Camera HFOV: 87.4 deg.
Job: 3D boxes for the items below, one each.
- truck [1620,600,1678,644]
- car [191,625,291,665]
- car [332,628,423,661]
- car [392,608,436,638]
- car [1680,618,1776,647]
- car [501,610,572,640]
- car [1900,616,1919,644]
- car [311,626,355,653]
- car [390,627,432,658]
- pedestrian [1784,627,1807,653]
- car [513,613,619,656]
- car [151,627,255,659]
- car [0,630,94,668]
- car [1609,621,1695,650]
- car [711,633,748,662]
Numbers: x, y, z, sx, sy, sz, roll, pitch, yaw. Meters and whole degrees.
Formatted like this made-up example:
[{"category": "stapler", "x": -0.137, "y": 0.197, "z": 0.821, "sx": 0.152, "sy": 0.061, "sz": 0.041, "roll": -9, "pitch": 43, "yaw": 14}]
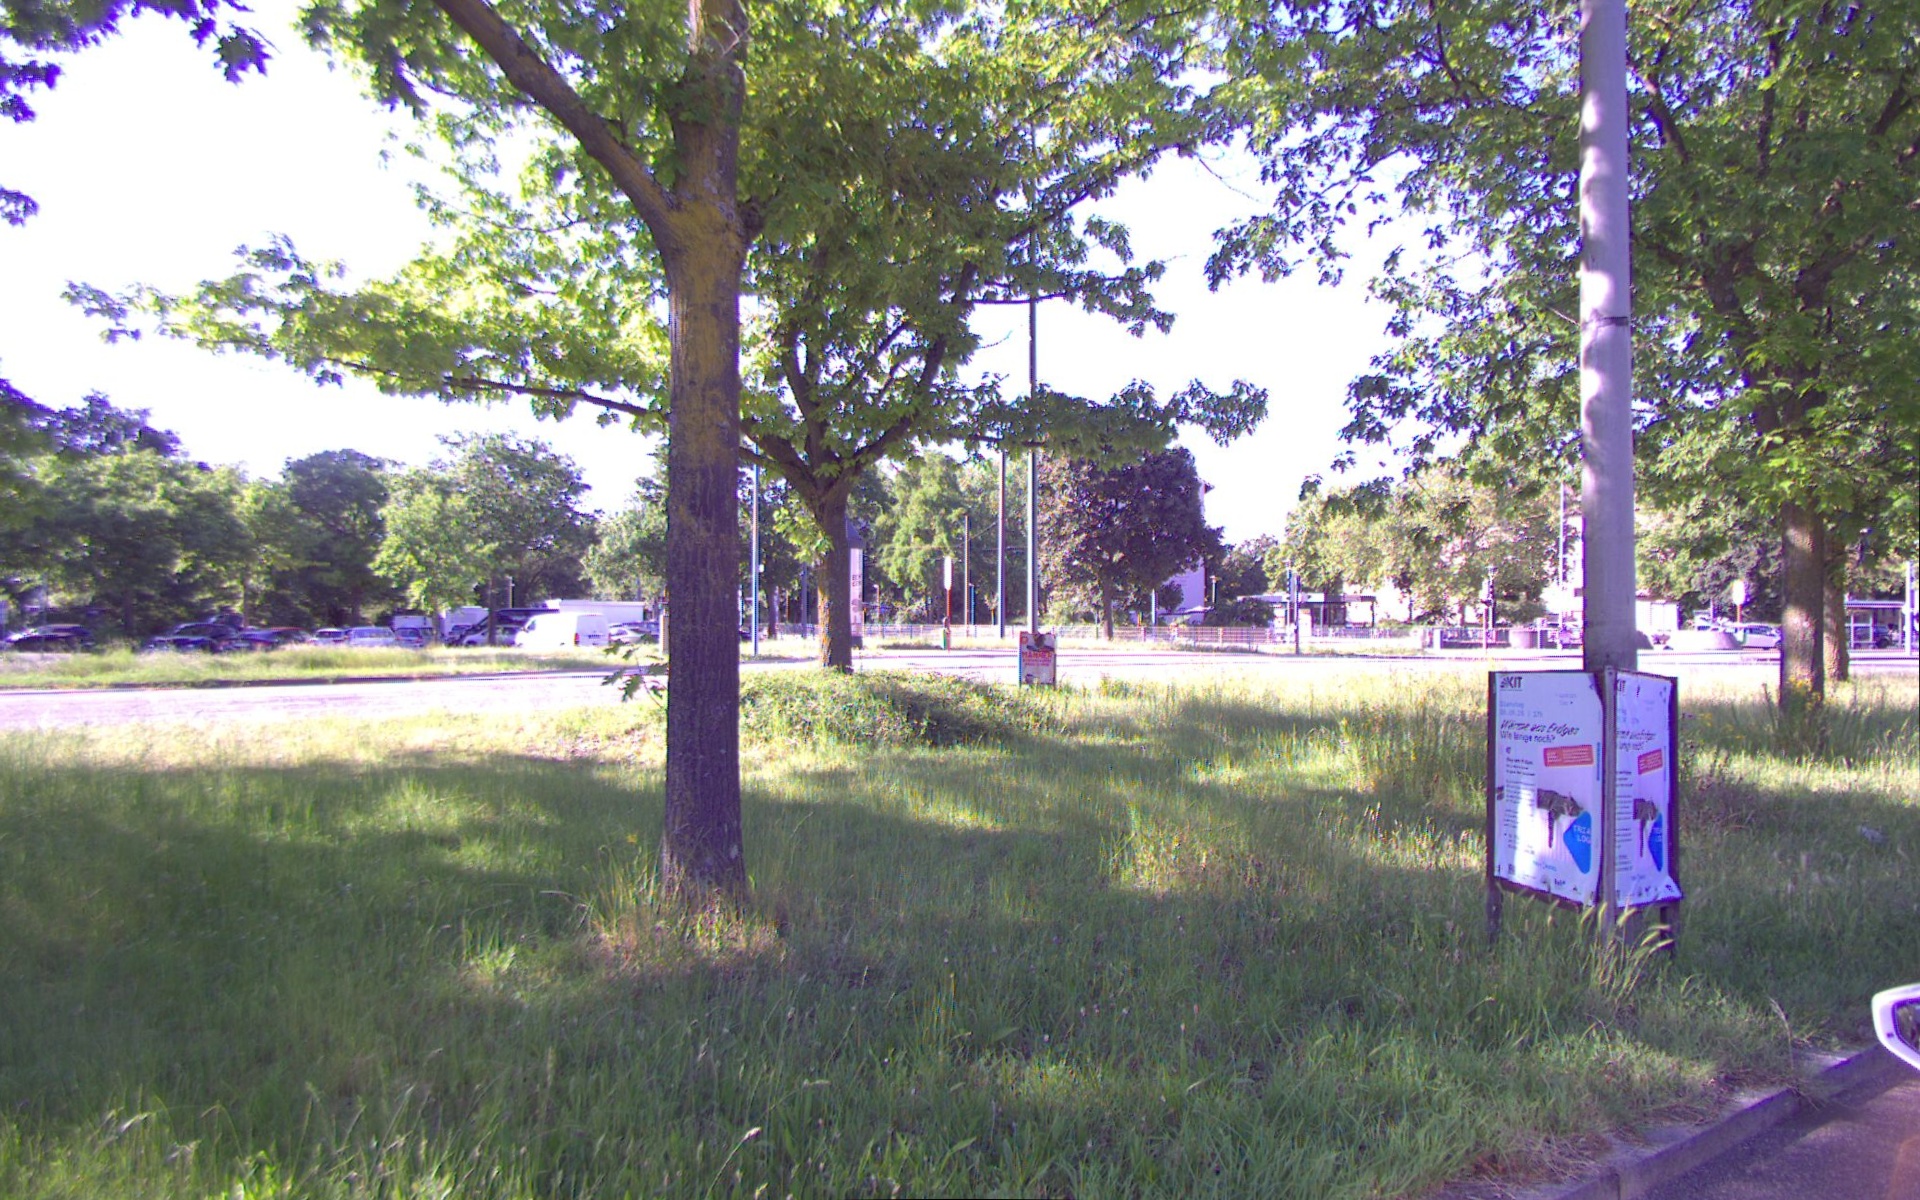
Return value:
[{"category": "truck", "x": 46.654, "y": 1.475, "z": 68.093, "sx": 1.960, "sy": 2.842, "sz": 4.002, "roll": 0, "pitch": -1, "yaw": 15}, {"category": "car", "x": -25.224, "y": 1.560, "z": 35.258, "sx": 2.769, "sy": 1.323, "sz": 1.326, "roll": 1, "pitch": -1, "yaw": -40}, {"category": "car", "x": -21.817, "y": 1.631, "z": 37.648, "sx": 2.769, "sy": 1.171, "sz": 1.326, "roll": 1, "pitch": -1, "yaw": -40}, {"category": "car", "x": -32.476, "y": 1.361, "z": 59.801, "sx": 1.865, "sy": 1.691, "sz": 3.733, "roll": 1, "pitch": -1, "yaw": -22}, {"category": "car", "x": 46.920, "y": 1.962, "z": 61.469, "sx": 4.233, "sy": 1.706, "sz": 2.001, "roll": 0, "pitch": -1, "yaw": 9}, {"category": "car", "x": -24.118, "y": 1.409, "z": 57.303, "sx": 3.698, "sy": 1.691, "sz": 1.883, "roll": 1, "pitch": -1, "yaw": -23}, {"category": "car", "x": 71.691, "y": 2.214, "z": 73.295, "sx": 1.910, "sy": 2.040, "sz": 4.155, "roll": 1, "pitch": -1, "yaw": -31}, {"category": "car", "x": -29.284, "y": 1.821, "z": 46.880, "sx": 1.603, "sy": 1.194, "sz": 3.047, "roll": 1, "pitch": -1, "yaw": -35}, {"category": "car", "x": -26.691, "y": 2.025, "z": 48.793, "sx": 1.602, "sy": 1.438, "sz": 3.050, "roll": 1, "pitch": -1, "yaw": -33}, {"category": "pedestrian", "x": 53.658, "y": 2.565, "z": 64.496, "sx": 0.781, "sy": 1.629, "sz": 0.923, "roll": 0, "pitch": -1, "yaw": 9}, {"category": "car", "x": -17.208, "y": 1.471, "z": 43.814, "sx": 4.670, "sy": 1.762, "sz": 2.024, "roll": 0, "pitch": -1, "yaw": 34}, {"category": "car", "x": -26.834, "y": 1.500, "z": 35.643, "sx": 1.315, "sy": 1.078, "sz": 2.777, "roll": 0, "pitch": -1, "yaw": 42}, {"category": "car", "x": -47.648, "y": 2.492, "z": 51.922, "sx": 1.966, "sy": 1.817, "sz": 3.990, "roll": 0, "pitch": -1, "yaw": 32}, {"category": "car", "x": 42.916, "y": 2.194, "z": 62.335, "sx": 3.919, "sy": 1.706, "sz": 2.001, "roll": 0, "pitch": -1, "yaw": 9}, {"category": "car", "x": -12.019, "y": 2.451, "z": 52.500, "sx": 1.589, "sy": 1.438, "sz": 3.073, "roll": 0, "pitch": -1, "yaw": -8}]
